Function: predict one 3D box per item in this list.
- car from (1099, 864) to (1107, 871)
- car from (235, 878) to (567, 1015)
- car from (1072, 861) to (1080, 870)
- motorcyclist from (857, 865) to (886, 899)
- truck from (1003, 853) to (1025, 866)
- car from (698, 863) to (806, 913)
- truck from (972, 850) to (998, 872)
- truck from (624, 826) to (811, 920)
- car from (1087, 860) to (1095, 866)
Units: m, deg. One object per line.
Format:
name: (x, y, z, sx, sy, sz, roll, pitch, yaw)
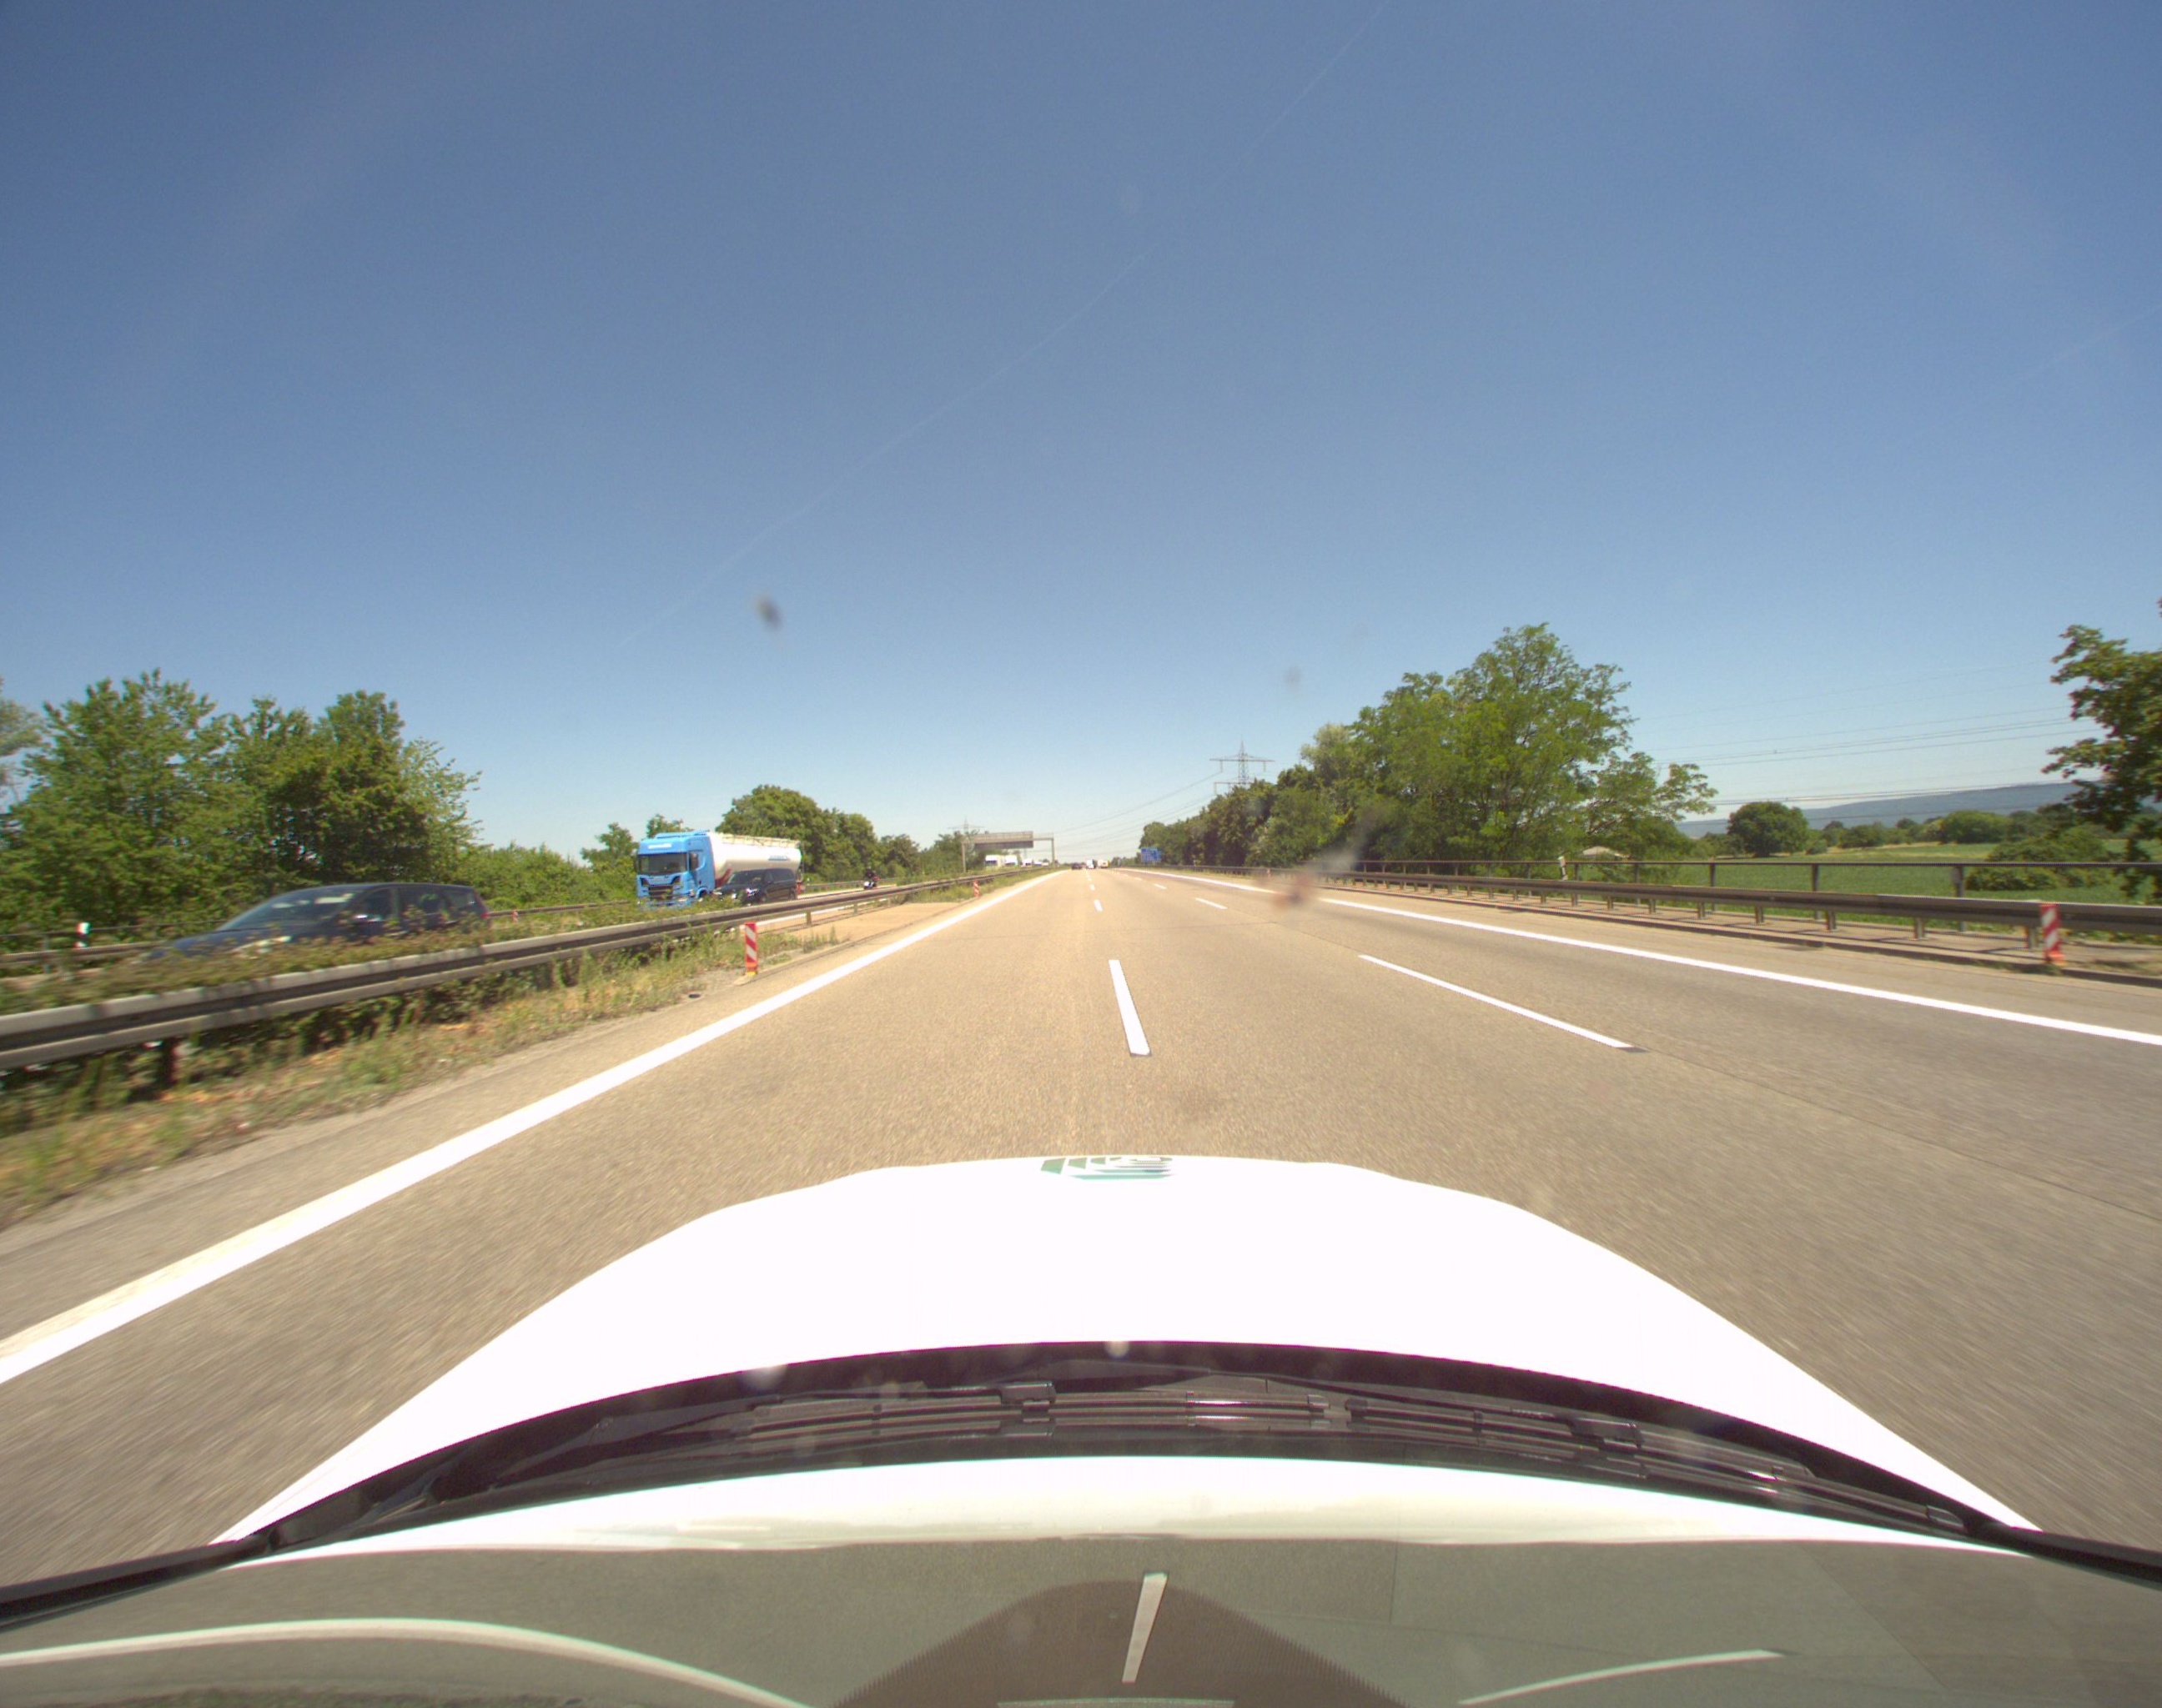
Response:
car: (6.279, 3.819, 232.877, 1.987, 2.014, 3.999, -2, -1, 0)
car: (-10.883, 1.363, 13.531, 1.987, 1.730, 4.092, -3, 0, 0)
car: (-1.099, 2.651, 184.197, 1.785, 2.014, 3.887, -1, -1, 1)
motorcyclist: (-9.962, 1.333, 38.773, 0.969, 1.520, 1.334, -4, -1, -1)
truck: (-11.334, 0.903, 138.364, 2.719, 2.067, 7.139, -3, -1, 1)
car: (-14.751, 1.466, 36.964, 2.405, 1.917, 5.782, -3, 0, 0)
truck: (-20.495, 1.508, 174.436, 3.206, 4.377, 17.188, -5, -1, 0)
truck: (-18.817, 0.946, 44.173, 2.720, 4.053, 15.935, -2, -1, 1)
car: (3.096, 2.918, 257.667, 2.168, 1.929, 4.616, -2, -1, 4)
